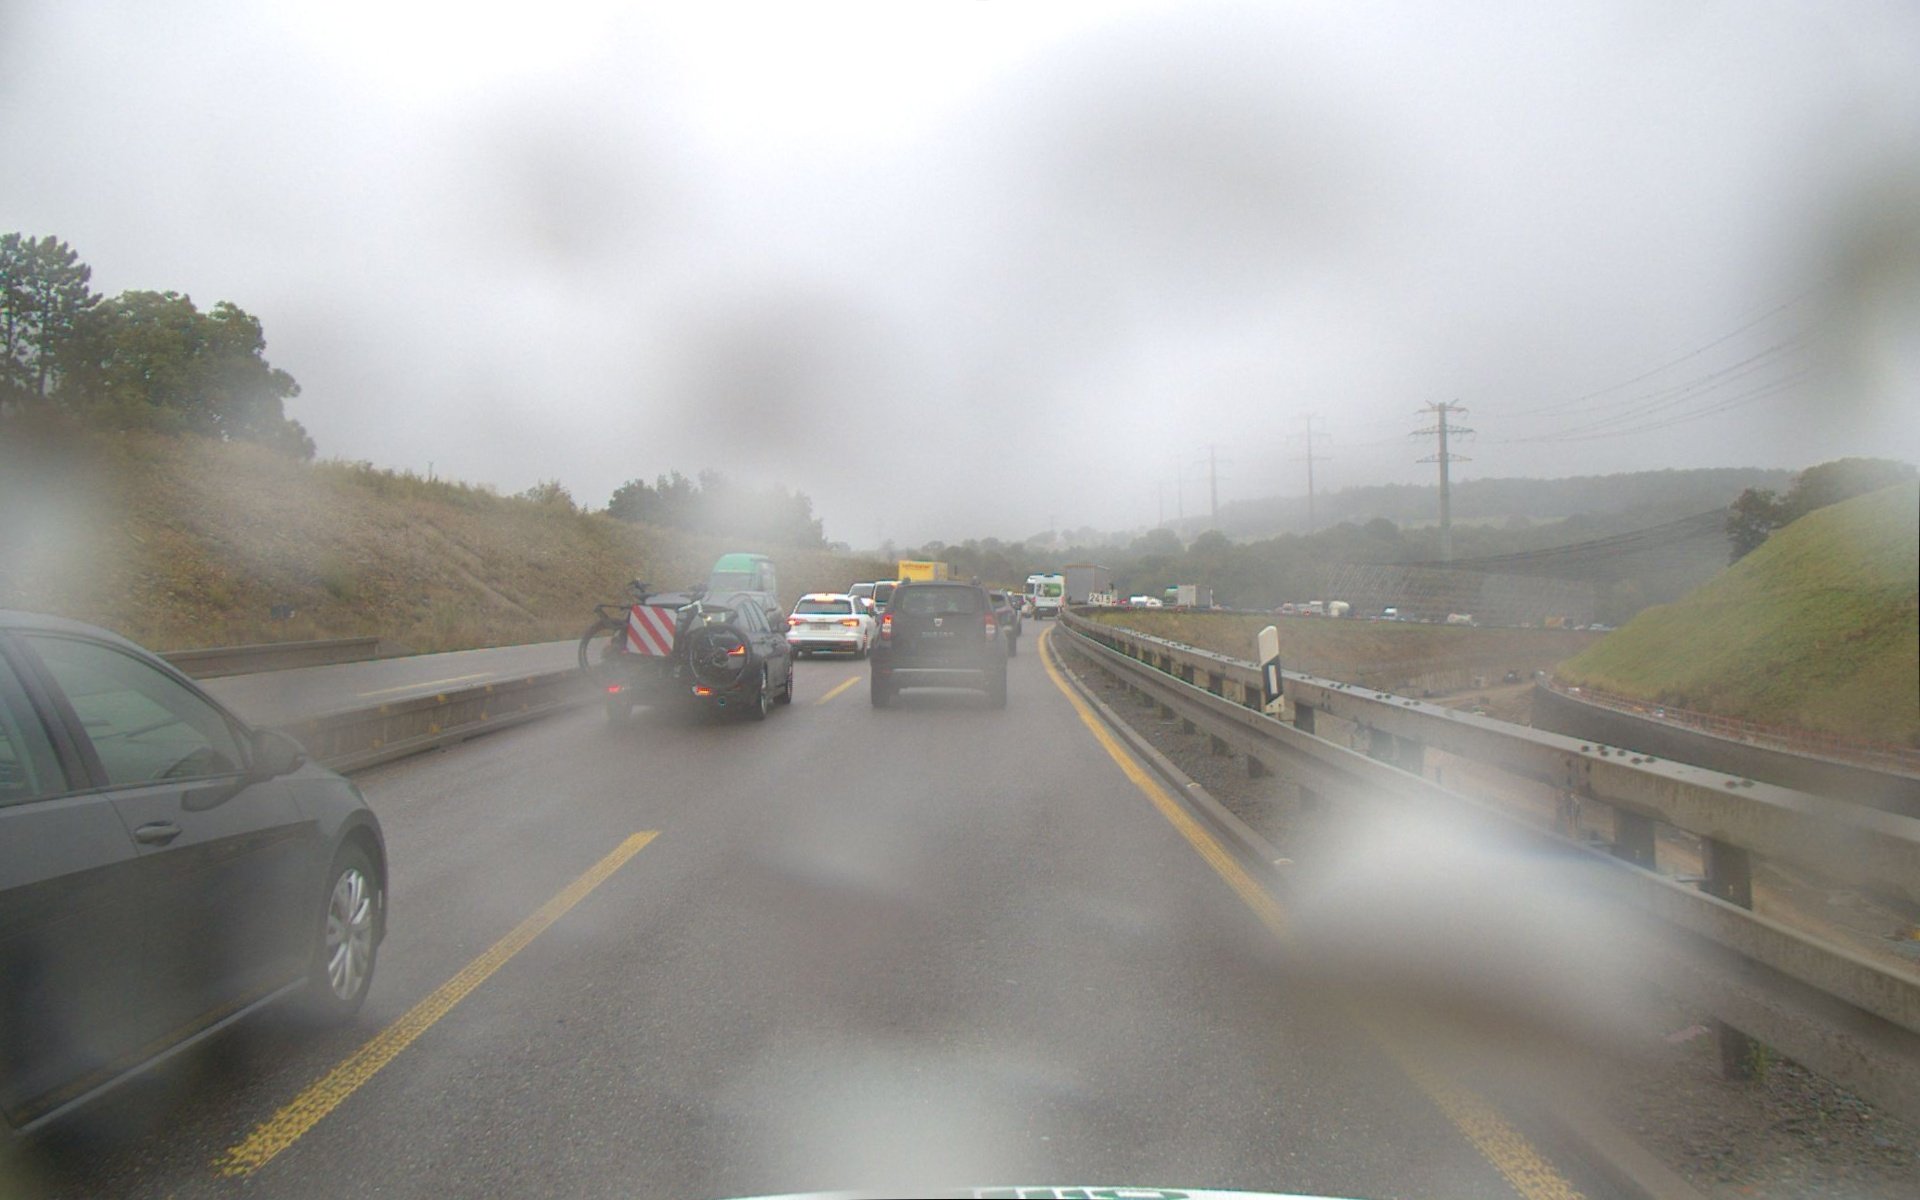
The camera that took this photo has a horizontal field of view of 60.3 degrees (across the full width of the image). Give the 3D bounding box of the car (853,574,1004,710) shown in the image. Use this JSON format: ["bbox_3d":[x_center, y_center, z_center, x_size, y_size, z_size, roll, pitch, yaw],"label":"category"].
[{"bbox_3d":[-0.337,0.514,22.345,1.767,1.674,3.778,0,0,3],"label":"car"}]

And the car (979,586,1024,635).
[{"bbox_3d":[1.541,0.363,59.863,1.498,1.669,4.014,2,0,2],"label":"car"}]

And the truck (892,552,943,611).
[{"bbox_3d":[-2.989,-1.311,118.753,2.710,4.066,8.427,1,0,4],"label":"truck"}]

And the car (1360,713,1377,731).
[{"bbox_3d":[54.107,16.159,218.925,1.951,2.049,4.002,2,0,16],"label":"car"}]

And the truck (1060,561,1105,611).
[{"bbox_3d":[10.030,-1.122,134.311,3.132,3.827,8.516,2,0,7],"label":"truck"}]

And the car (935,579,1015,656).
[{"bbox_3d":[0.407,0.405,40.339,1.829,1.738,4.001,1,0,2],"label":"car"}]

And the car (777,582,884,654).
[{"bbox_3d":[-2.877,0.373,37.538,1.829,1.486,4.550,2,0,3],"label":"car"}]

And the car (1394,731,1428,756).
[{"bbox_3d":[43.530,13.851,159.750,2.315,2.049,4.002,2,0,4],"label":"car"}]

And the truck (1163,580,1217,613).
[{"bbox_3d":[31.562,-0.502,226.234,4.618,4.222,15.690,2,0,17],"label":"truck"}]

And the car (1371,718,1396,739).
[{"bbox_3d":[45.429,13.748,177.414,1.951,1.847,4.003,1,0,6],"label":"car"}]

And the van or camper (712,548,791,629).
[{"bbox_3d":[-7.805,-0.437,62.521,2.057,2.867,5.944,2,0,1],"label":"van or camper"}]

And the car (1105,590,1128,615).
[{"bbox_3d":[12.613,0.174,133.102,1.737,1.949,4.003,2,0,7],"label":"car"}]

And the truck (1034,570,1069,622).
[{"bbox_3d":[5.944,-0.255,106.808,2.104,3.221,6.462,2,0,3],"label":"truck"}]

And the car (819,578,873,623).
[{"bbox_3d":[-5.149,0.006,75.306,1.959,1.920,5.274,2,0,1],"label":"car"}]

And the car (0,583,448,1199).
[{"bbox_3d":[-2.758,0.741,4.177,1.581,1.532,4.368,-1,0,-1],"label":"car"}]

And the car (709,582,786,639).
[{"bbox_3d":[-6.202,0.272,48.673,1.678,1.563,4.047,2,0,1],"label":"car"}]

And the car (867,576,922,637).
[{"bbox_3d":[-2.129,0.193,54.861,1.626,1.912,4.019,2,0,0],"label":"car"}]

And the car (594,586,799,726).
[{"bbox_3d":[-3.053,0.607,19.878,1.791,1.502,3.777,0,0,1],"label":"car"}]

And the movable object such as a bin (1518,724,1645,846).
[{"bbox_3d":[23.430,6.908,62.536,3.148,3.934,4.123,3,1,1],"label":"movable object such as a bin"}]
